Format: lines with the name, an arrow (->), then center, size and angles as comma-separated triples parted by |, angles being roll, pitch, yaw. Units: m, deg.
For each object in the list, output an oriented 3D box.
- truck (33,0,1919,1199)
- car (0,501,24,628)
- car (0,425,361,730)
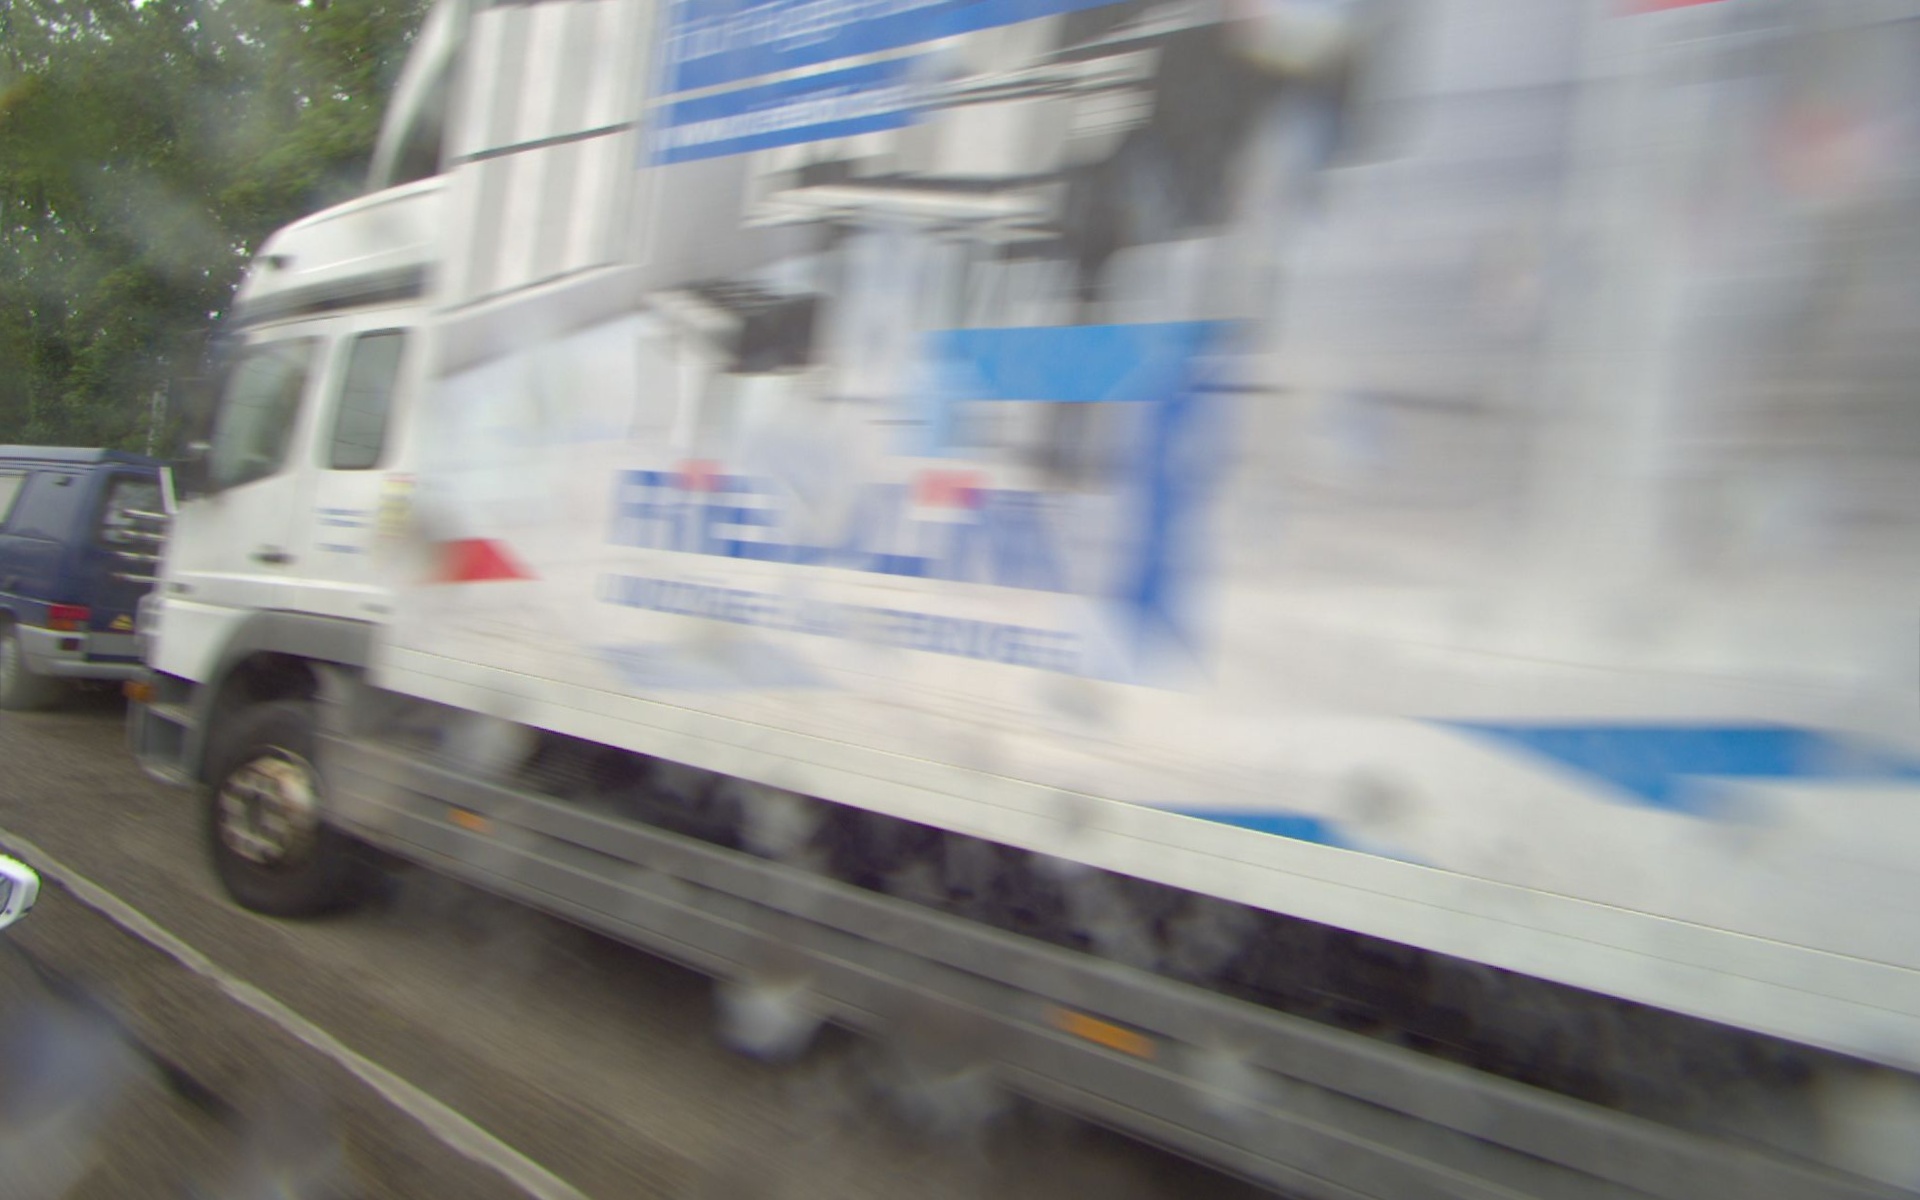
truck -> 0.788, -0.280, 3.491 | 9.684, 3.748, 2.782 | 6, -1, 29
car -> -13.526, -0.691, 12.334 | 4.274, 1.476, 1.817 | 6, -3, 32
car -> -7.634, -0.283, 8.790 | 4.897, 2.036, 1.880 | 7, -2, 32
